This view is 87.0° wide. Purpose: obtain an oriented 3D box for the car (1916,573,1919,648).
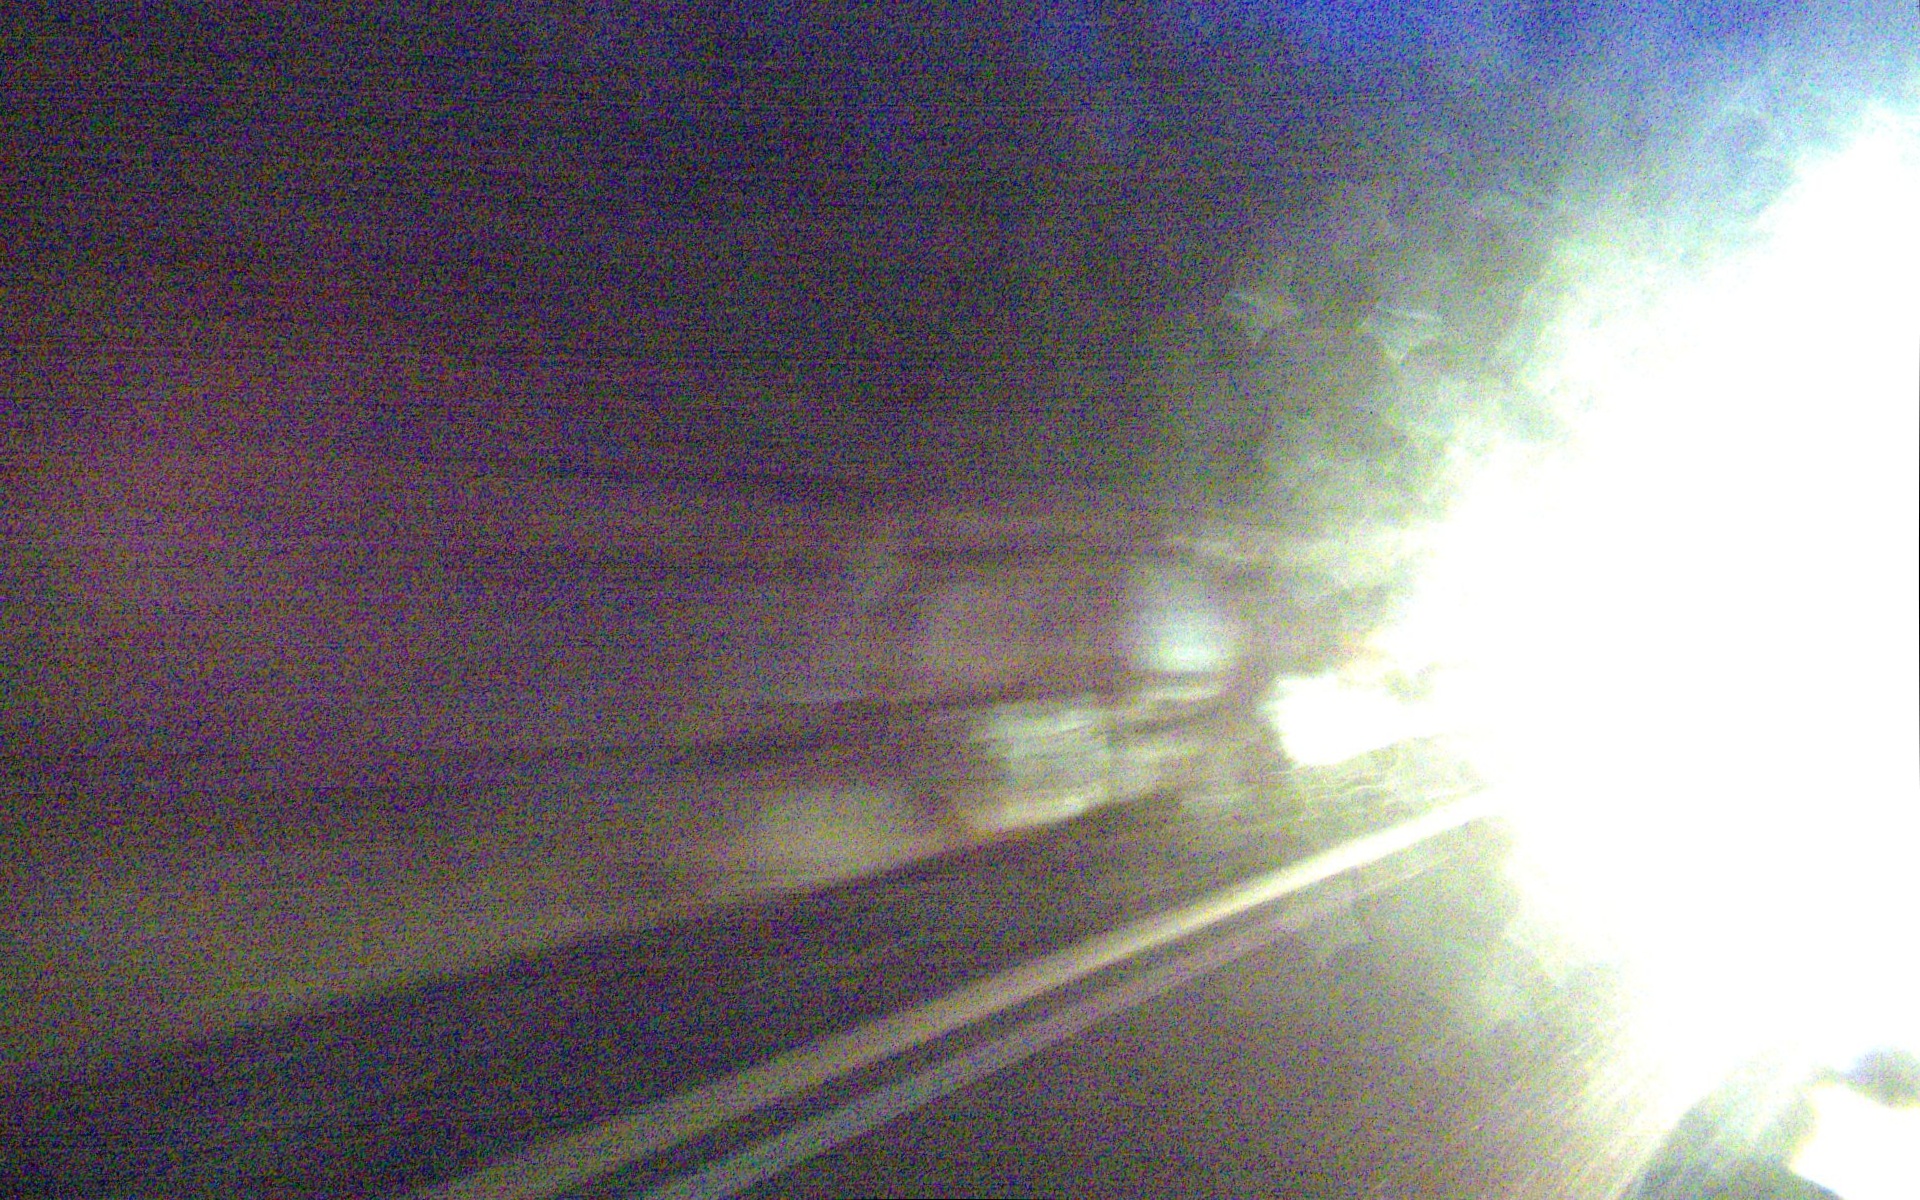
[{"bbox_3d":[23.039,0.166,22.592,4.802,1.608,1.877,-1,0,-40],"label":"car"}]
